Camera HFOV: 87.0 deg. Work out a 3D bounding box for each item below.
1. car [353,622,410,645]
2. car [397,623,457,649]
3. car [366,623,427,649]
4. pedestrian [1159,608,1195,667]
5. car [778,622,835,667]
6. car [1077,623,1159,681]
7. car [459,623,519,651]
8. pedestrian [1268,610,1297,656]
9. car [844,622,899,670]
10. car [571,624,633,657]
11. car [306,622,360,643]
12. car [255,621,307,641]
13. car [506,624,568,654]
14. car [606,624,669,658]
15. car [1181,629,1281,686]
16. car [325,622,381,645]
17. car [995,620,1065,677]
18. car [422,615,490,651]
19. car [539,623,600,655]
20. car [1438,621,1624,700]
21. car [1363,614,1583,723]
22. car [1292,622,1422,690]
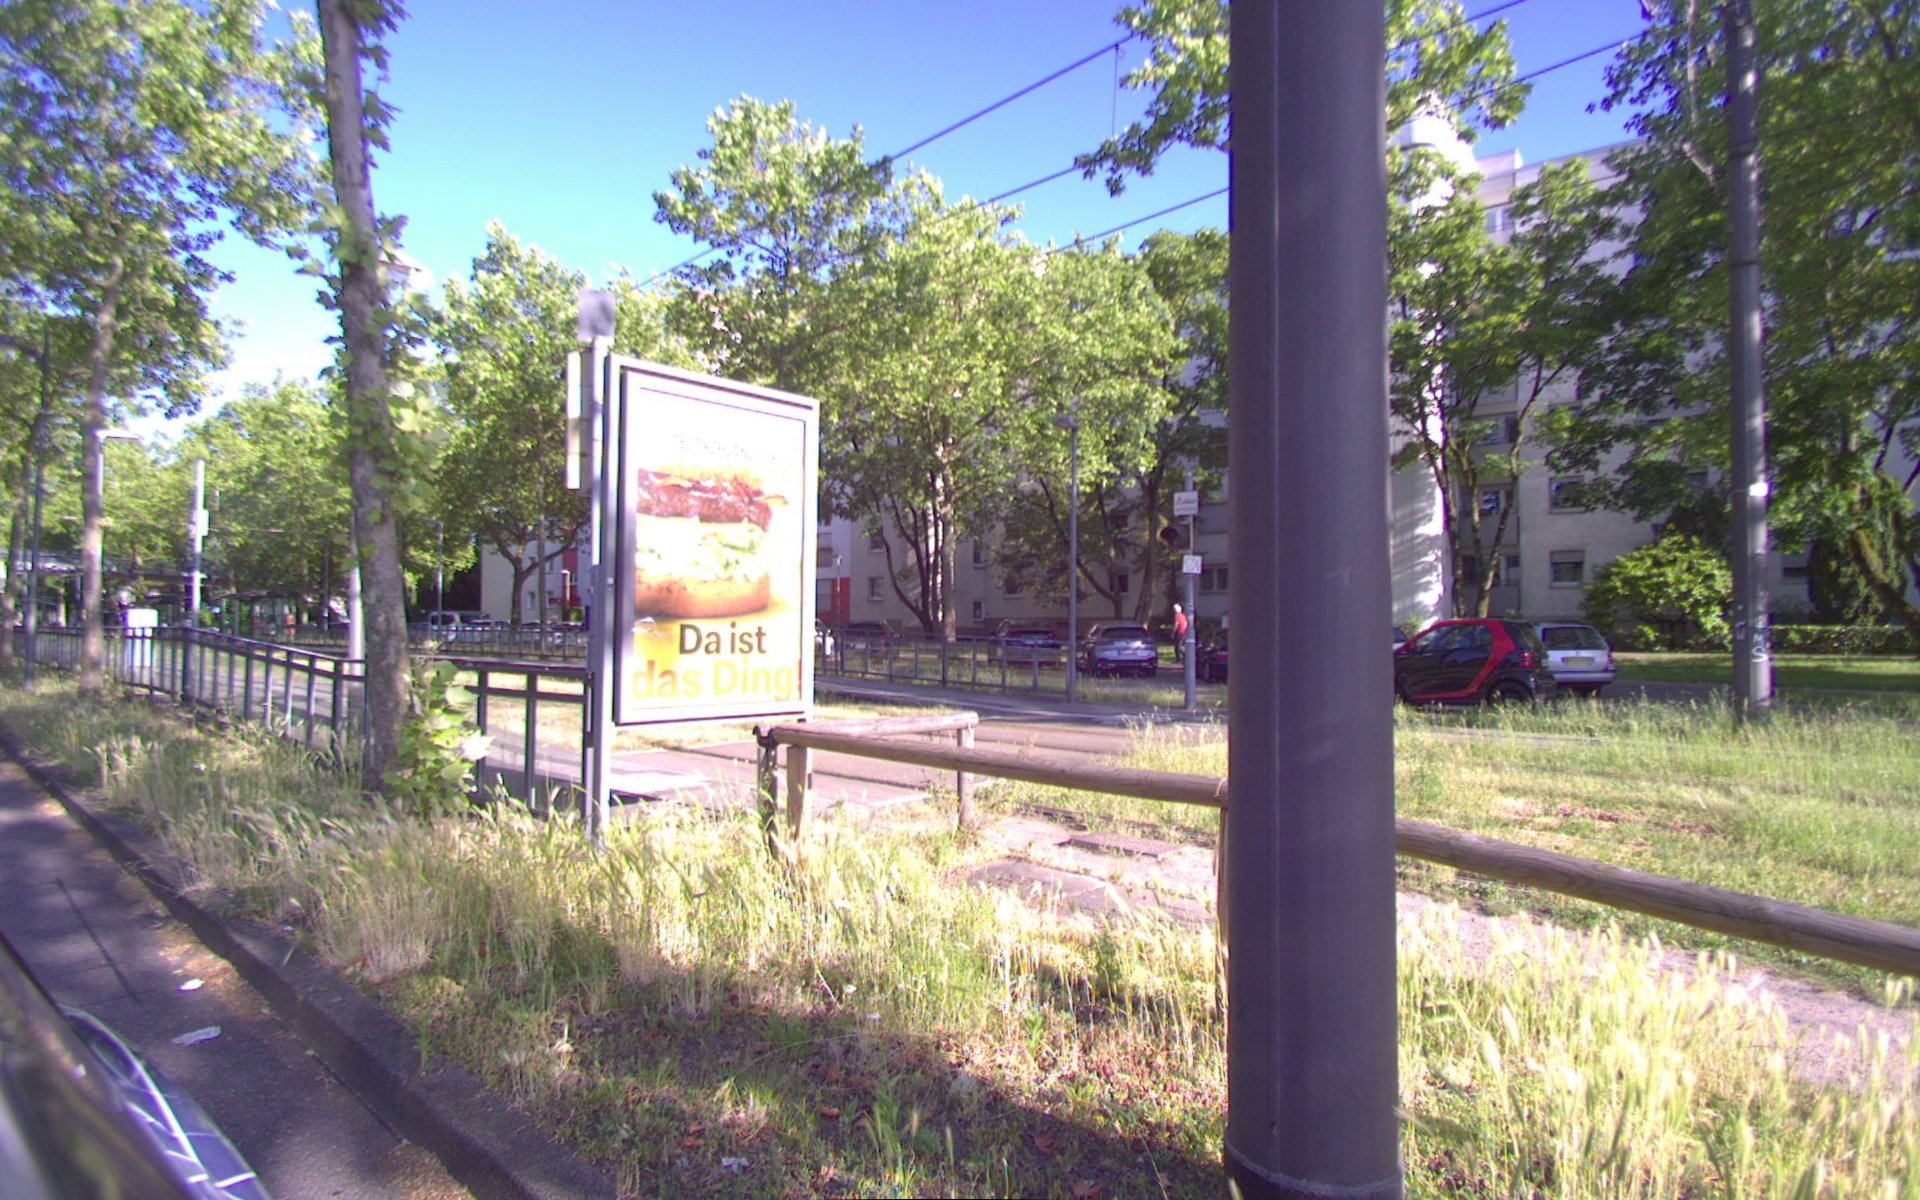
[{"bbox_3d":[-37.888,2.177,66.382,1.633,1.452,3.805,-1,-1,-2],"label":"car"},{"bbox_3d":[-31.335,2.087,59.603,1.633,1.452,3.805,-1,-1,-2],"label":"car"},{"bbox_3d":[-33.697,2.118,60.606,1.633,1.452,3.805,-1,-1,-2],"label":"car"},{"bbox_3d":[6.572,1.133,30.681,0.786,1.745,0.755,-1,0,39],"label":"pedestrian"},{"bbox_3d":[-5.568,1.572,37.022,1.633,1.522,3.805,-1,-1,-2],"label":"car"},{"bbox_3d":[4.215,1.367,27.523,1.633,1.413,3.803,-1,-1,0],"label":"car"},{"bbox_3d":[-25.874,2.003,55.664,1.633,1.452,3.805,-1,-1,-2],"label":"car"},{"bbox_3d":[11.677,1.184,36.639,0.786,1.635,0.755,-1,0,39],"label":"pedestrian"},{"bbox_3d":[-2.979,1.530,34.653,1.633,1.522,3.805,-1,-1,-2],"label":"car"},{"bbox_3d":[-16.629,1.859,47.163,1.633,1.452,3.805,-1,-1,-2],"label":"car"},{"bbox_3d":[-44.982,2.292,72.684,1.633,1.452,3.805,-1,-1,-2],"label":"car"},{"bbox_3d":[-53.054,2.407,79.156,1.633,1.452,3.805,-1,-1,-2],"label":"car"},{"bbox_3d":[-21.340,1.944,51.187,1.633,1.452,3.805,-1,-1,-2],"label":"car"},{"bbox_3d":[-14.066,1.769,44.341,1.633,1.366,3.805,-1,-1,-2],"label":"car"},{"bbox_3d":[6.672,1.380,25.281,1.445,1.234,3.815,-1,-1,0],"label":"car"},{"bbox_3d":[-40.841,2.231,68.195,1.633,1.452,3.805,-1,-1,-2],"label":"car"},{"bbox_3d":[1.981,1.357,29.671,1.633,1.522,3.805,-1,-1,-2],"label":"car"},{"bbox_3d":[-28.456,1.829,57.258,1.814,1.888,4.323,-1,-1,-2],"label":"car"},{"bbox_3d":[-19.048,1.901,49.544,1.633,1.452,3.805,-1,-1,-2],"label":"car"},{"bbox_3d":[11.471,1.163,20.669,1.559,1.413,3.906,-1,-1,0],"label":"car"},{"bbox_3d":[8.241,1.039,16.349,2.817,1.569,1.558,-2,-1,44],"label":"car"},{"bbox_3d":[9.140,1.241,23.595,1.559,1.413,3.638,-1,-1,0],"label":"car"}]
